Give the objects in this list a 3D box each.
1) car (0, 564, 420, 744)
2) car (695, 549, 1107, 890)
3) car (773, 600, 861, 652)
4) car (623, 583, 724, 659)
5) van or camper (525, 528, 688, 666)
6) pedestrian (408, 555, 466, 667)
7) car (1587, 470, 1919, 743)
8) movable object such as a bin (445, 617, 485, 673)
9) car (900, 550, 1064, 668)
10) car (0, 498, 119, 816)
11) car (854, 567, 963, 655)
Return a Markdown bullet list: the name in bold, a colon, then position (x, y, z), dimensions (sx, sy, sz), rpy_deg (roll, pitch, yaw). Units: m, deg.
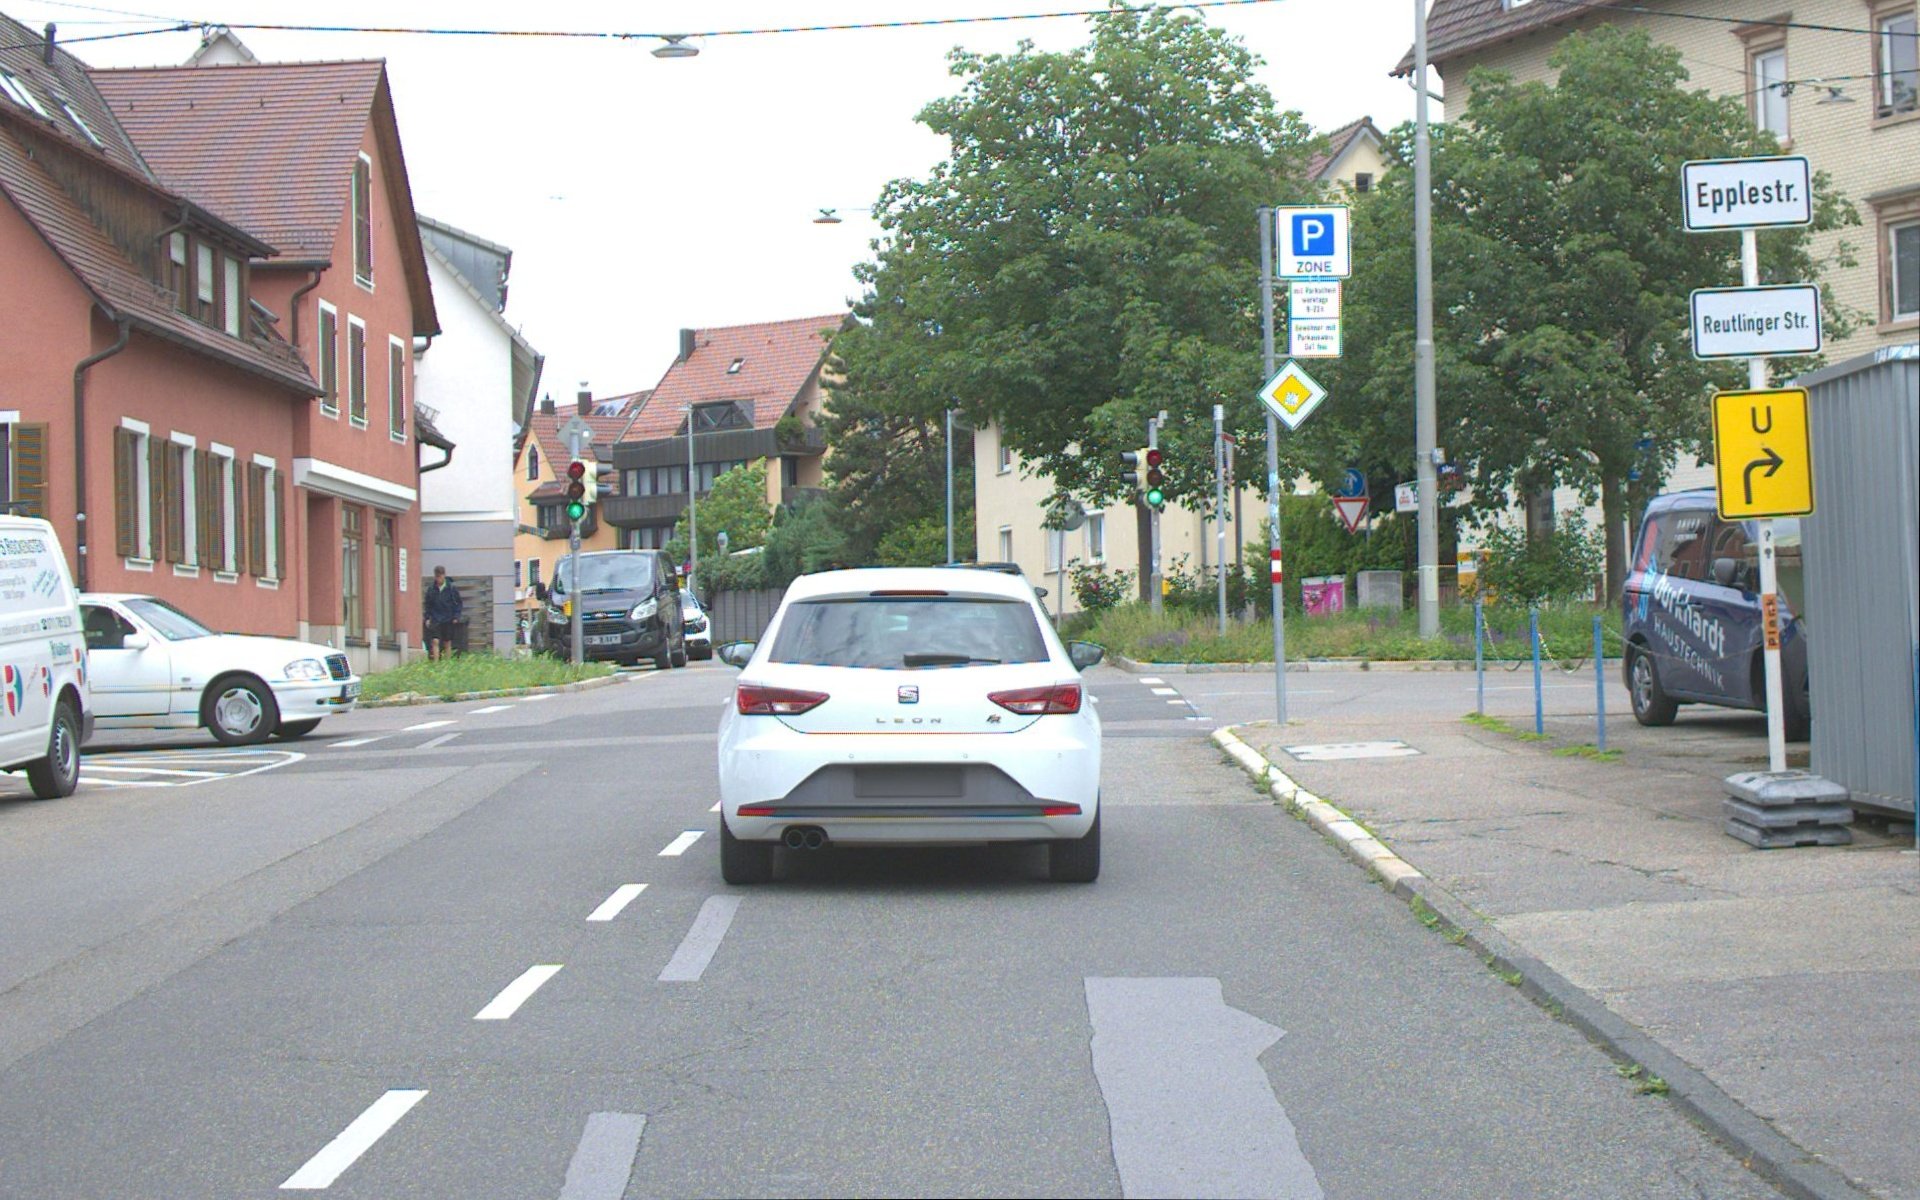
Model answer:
- **car**: position (-7.432, 0.496, 31.407), dimensions (4.554, 1.440, 2.000), rpy_deg (-3, 0, 4)
- **car**: position (-0.198, 0.501, 16.830), dimensions (1.758, 1.447, 4.000), rpy_deg (-1, 0, 2)
- **car**: position (-4.257, 0.773, 101.776), dimensions (1.758, 1.447, 4.001), rpy_deg (2, -2, -14)
- **car**: position (-6.364, 0.477, 75.947), dimensions (1.997, 1.628, 4.858), rpy_deg (0, -1, -7)
- **van or camper**: position (-5.706, -0.003, 56.066), dimensions (2.073, 1.999, 4.857), rpy_deg (-3, -2, 0)
- **pedestrian**: position (-8.454, 0.174, 55.588), dimensions (0.800, 1.779, 0.893), rpy_deg (0, 0, 0)
- **car**: position (6.050, 0.000, 24.642), dimensions (1.746, 1.733, 4.573), rpy_deg (-3, 1, -6)
- **movable object such as a bin**: position (-9.311, 0.847, 64.686), dimensions (0.665, 1.015, 0.795), rpy_deg (-2, 0, -3)
- **car**: position (0.238, 0.145, 44.768), dimensions (1.758, 1.447, 4.000), rpy_deg (-1, -1, -5)
- **car**: position (-6.949, 0.399, 21.771), dimensions (1.812, 1.999, 4.763), rpy_deg (-3, 1, 2)
- **car**: position (-0.924, 0.213, 59.592), dimensions (1.758, 1.447, 4.000), rpy_deg (-1, -1, -3)
